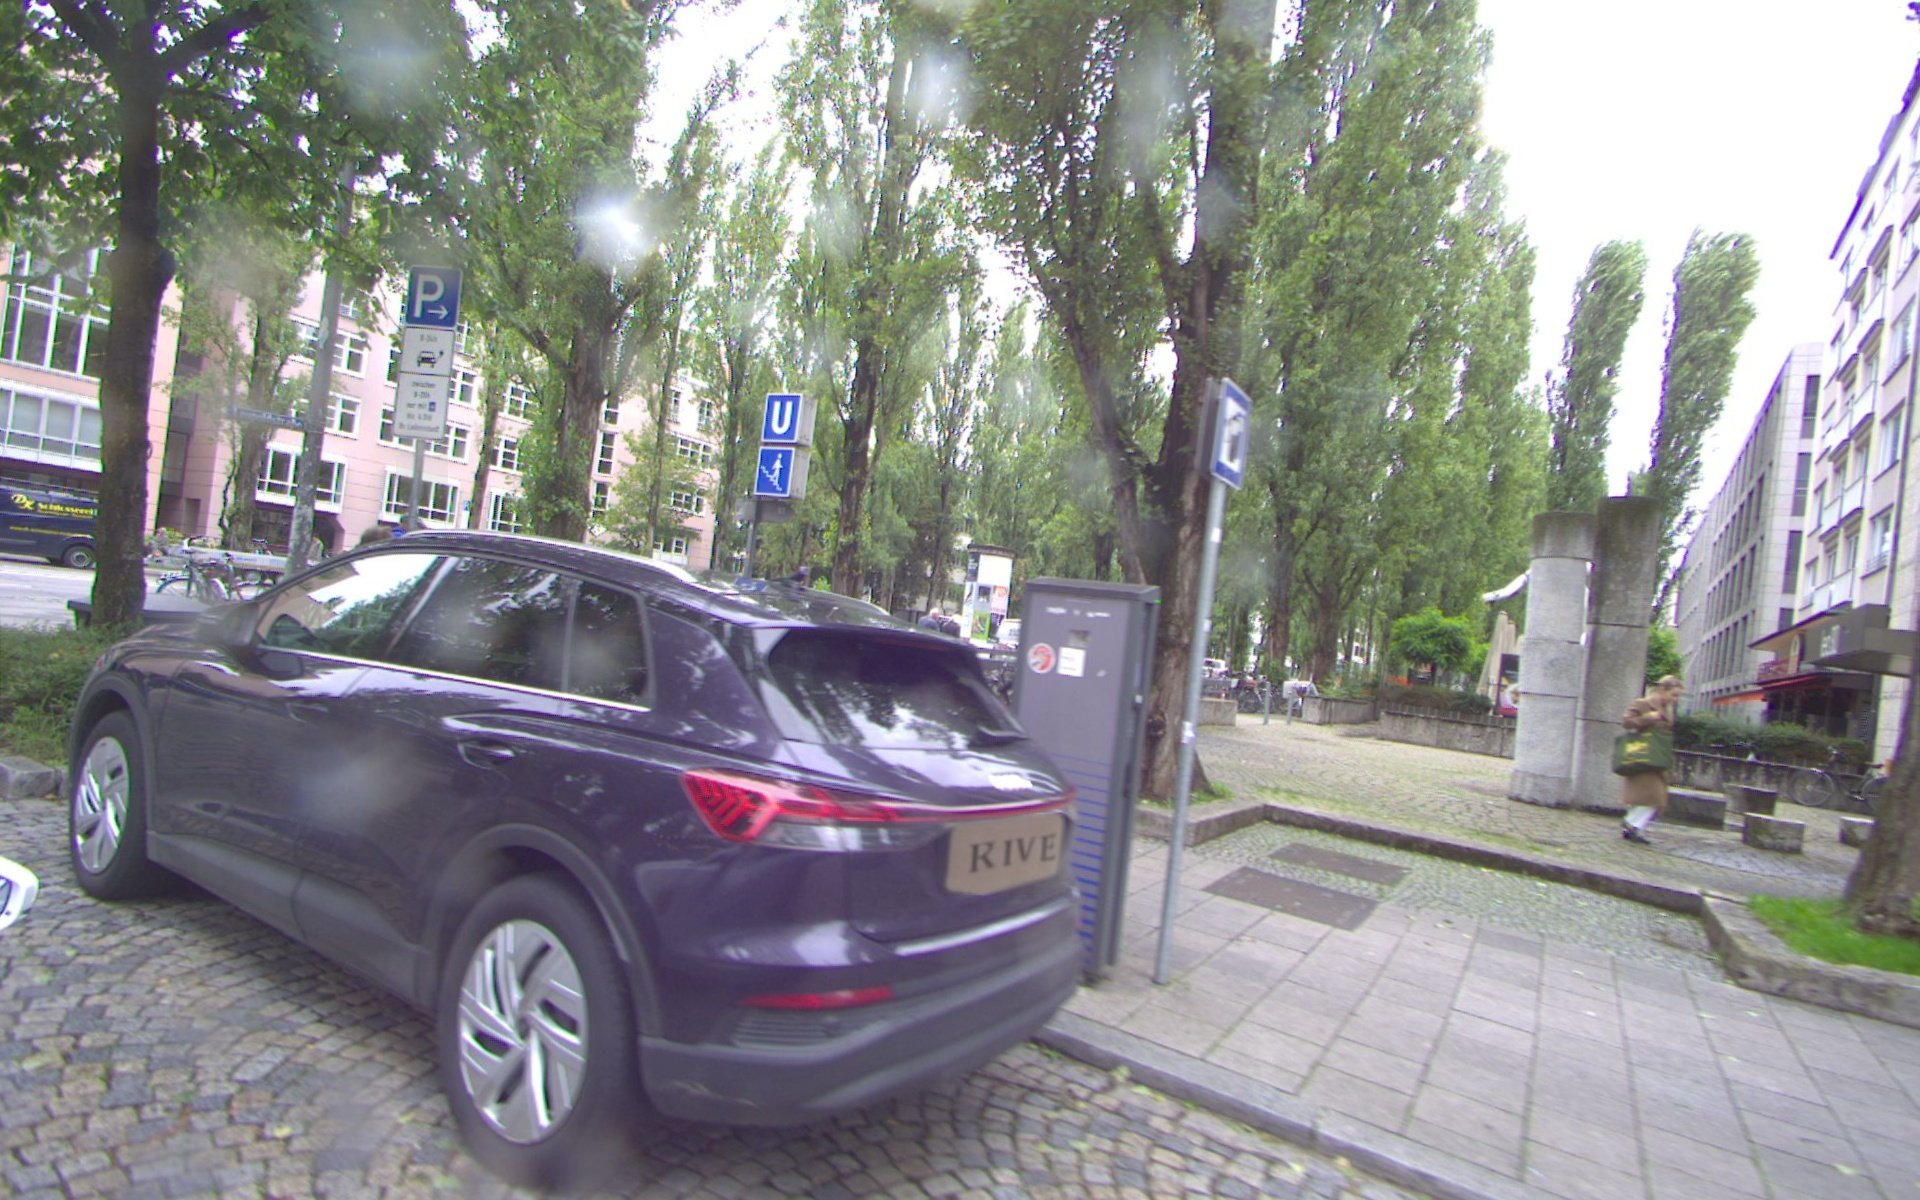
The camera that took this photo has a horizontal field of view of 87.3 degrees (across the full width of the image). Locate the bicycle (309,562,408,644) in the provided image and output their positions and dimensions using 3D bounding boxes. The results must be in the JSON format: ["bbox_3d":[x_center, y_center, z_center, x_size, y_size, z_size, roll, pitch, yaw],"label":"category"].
[{"bbox_3d":[-9.101,0.031,15.199,1.847,1.063,0.474,5,-1,35],"label":"bicycle"}]

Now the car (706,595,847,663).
[{"bbox_3d":[-5.343,0.896,29.746,1.720,1.545,3.899,8,-1,34],"label":"car"}]

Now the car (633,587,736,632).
[{"bbox_3d":[-12.757,0.457,46.810,1.968,1.560,4.315,7,-1,34],"label":"car"}]

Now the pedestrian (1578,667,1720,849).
[{"bbox_3d":[6.729,1.524,9.846,0.709,1.626,0.707,7,0,-15],"label":"pedestrian"}]

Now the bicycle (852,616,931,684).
[{"bbox_3d":[-1.278,0.983,19.197,0.577,1.173,1.869,7,-1,24],"label":"bicycle"}]

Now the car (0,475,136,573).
[{"bbox_3d":[-25.609,-2.204,26.543,1.991,2.223,5.486,7,-1,33],"label":"car"}]

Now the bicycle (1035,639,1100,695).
[{"bbox_3d":[2.504,1.568,23.245,0.578,1.173,1.865,7,-1,34],"label":"bicycle"}]

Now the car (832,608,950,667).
[{"bbox_3d":[-2.291,1.328,34.600,1.720,1.545,4.227,8,-1,33],"label":"car"}]

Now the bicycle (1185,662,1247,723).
[{"bbox_3d":[5.473,1.988,21.441,0.578,1.173,1.865,7,-1,34],"label":"bicycle"}]

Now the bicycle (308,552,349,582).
[{"bbox_3d":[-28.735,-1.512,45.759,2.073,1.138,0.674,7,0,34],"label":"bicycle"}]

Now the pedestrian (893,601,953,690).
[{"bbox_3d":[-0.807,1.002,22.074,0.739,1.824,0.840,7,0,38],"label":"pedestrian"}]

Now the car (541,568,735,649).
[{"bbox_3d":[-8.079,0.264,25.626,1.729,1.444,4.436,8,-1,36],"label":"car"}]

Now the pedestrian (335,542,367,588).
[{"bbox_3d":[-24.711,-1.418,40.824,0.698,1.734,0.730,7,0,34],"label":"pedestrian"}]

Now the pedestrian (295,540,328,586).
[{"bbox_3d":[-26.246,-1.489,40.727,0.698,1.734,0.730,7,0,34],"label":"pedestrian"}]

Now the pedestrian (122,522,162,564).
[{"bbox_3d":[-30.181,-2.100,37.127,0.718,1.386,0.709,7,0,4],"label":"pedestrian"}]

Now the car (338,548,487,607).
[{"bbox_3d":[-19.370,-0.770,35.783,1.778,1.560,4.223,5,-2,35],"label":"car"}]

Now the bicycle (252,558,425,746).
[{"bbox_3d":[-4.626,0.339,7.428,1.850,1.150,0.474,6,0,42],"label":"bicycle"}]

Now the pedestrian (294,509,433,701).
[{"bbox_3d":[-5.649,0.057,9.542,0.602,1.700,0.842,7,0,42],"label":"pedestrian"}]

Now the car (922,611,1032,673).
[{"bbox_3d":[0.761,1.713,39.697,1.885,1.947,5.032,8,-1,31],"label":"car"}]

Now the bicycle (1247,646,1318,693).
[{"bbox_3d":[9.787,2.114,30.570,1.840,1.174,0.586,7,0,35],"label":"bicycle"}]

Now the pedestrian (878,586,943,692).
[{"bbox_3d":[-0.854,0.673,17.383,0.686,1.721,0.656,7,0,-42],"label":"pedestrian"}]

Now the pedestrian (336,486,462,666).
[{"bbox_3d":[-5.718,-0.237,10.259,0.655,1.717,0.802,7,0,42],"label":"pedestrian"}]

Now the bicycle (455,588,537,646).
[{"bbox_3d":[-8.131,0.294,17.591,1.806,0.827,0.470,6,-1,38],"label":"bicycle"}]

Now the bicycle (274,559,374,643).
[{"bbox_3d":[-9.358,0.001,14.779,1.847,1.063,0.474,5,-1,35],"label":"bicycle"}]

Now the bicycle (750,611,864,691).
[{"bbox_3d":[-2.601,0.896,17.276,0.580,1.173,1.859,7,-1,44],"label":"bicycle"}]

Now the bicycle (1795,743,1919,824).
[{"bbox_3d":[17.203,3.454,18.859,2.209,1.169,0.646,7,0,33],"label":"bicycle"}]

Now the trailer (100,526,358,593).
[{"bbox_3d":[-22.596,-1.202,31.430,2.366,1.213,6.025,7,-1,34],"label":"trailer"}]

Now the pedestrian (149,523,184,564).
[{"bbox_3d":[-29.888,-2.121,37.898,0.698,1.386,0.730,7,0,34],"label":"pedestrian"}]

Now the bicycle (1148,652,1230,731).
[{"bbox_3d":[3.815,1.518,16.643,0.578,1.173,1.865,7,-1,34],"label":"bicycle"}]

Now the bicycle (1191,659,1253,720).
[{"bbox_3d":[5.572,1.922,21.348,0.578,1.173,1.865,7,-1,34],"label":"bicycle"}]

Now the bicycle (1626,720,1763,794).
[{"bbox_3d":[15.657,3.330,21.521,2.209,1.169,0.646,7,0,33],"label":"bicycle"}]

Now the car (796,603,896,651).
[{"bbox_3d":[-5.324,1.319,47.572,1.968,1.742,4.805,5,-2,33],"label":"car"}]

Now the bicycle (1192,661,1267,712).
[{"bbox_3d":[7.613,2.442,28.435,1.840,1.174,0.586,7,-1,35],"label":"bicycle"}]

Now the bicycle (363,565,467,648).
[{"bbox_3d":[-8.687,0.087,16.003,1.899,1.118,0.512,6,-1,33],"label":"bicycle"}]

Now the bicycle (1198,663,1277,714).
[{"bbox_3d":[7.992,2.543,29.000,2.000,1.174,0.586,7,-1,35],"label":"bicycle"}]

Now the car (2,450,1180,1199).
[{"bbox_3d":[-1.549,0.540,3.856,4.131,1.720,1.924,7,-2,31],"label":"car"}]

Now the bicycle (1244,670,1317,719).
[{"bbox_3d":[9.513,2.803,29.891,1.840,1.174,0.586,7,-1,35],"label":"bicycle"}]

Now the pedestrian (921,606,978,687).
[{"bbox_3d":[-0.219,1.007,21.617,0.688,1.625,0.831,7,-1,38],"label":"pedestrian"}]

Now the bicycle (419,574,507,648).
[{"bbox_3d":[-8.370,0.172,16.904,1.806,1.051,0.511,6,-1,38],"label":"bicycle"}]

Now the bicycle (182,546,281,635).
[{"bbox_3d":[-10.403,-0.150,14.346,1.847,1.063,0.474,7,0,35],"label":"bicycle"}]

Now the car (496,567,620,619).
[{"bbox_3d":[-16.423,-0.254,41.291,1.966,1.560,4.318,7,-1,31],"label":"car"}]

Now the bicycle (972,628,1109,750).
[{"bbox_3d":[1.013,1.079,12.177,0.710,1.292,1.865,7,-1,34],"label":"bicycle"}]

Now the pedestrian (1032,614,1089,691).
[{"bbox_3d":[2.689,1.402,26.785,0.905,1.888,1.011,7,-1,38],"label":"pedestrian"}]

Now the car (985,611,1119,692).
[{"bbox_3d":[2.857,1.595,29.960,1.784,1.918,5.197,7,-2,30],"label":"car"}]

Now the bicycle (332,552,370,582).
[{"bbox_3d":[-28.264,-1.535,46.689,1.957,1.138,0.674,7,0,34],"label":"bicycle"}]

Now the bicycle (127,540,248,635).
[{"bbox_3d":[-10.356,-0.177,13.467,1.844,1.063,0.475,6,0,28],"label":"bicycle"}]

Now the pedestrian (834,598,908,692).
[{"bbox_3d":[-1.490,0.752,16.825,0.765,1.437,0.809,7,0,-42],"label":"pedestrian"}]

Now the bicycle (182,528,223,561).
[{"bbox_3d":[-31.558,-2.312,41.890,1.957,1.138,0.674,7,0,34],"label":"bicycle"}]
